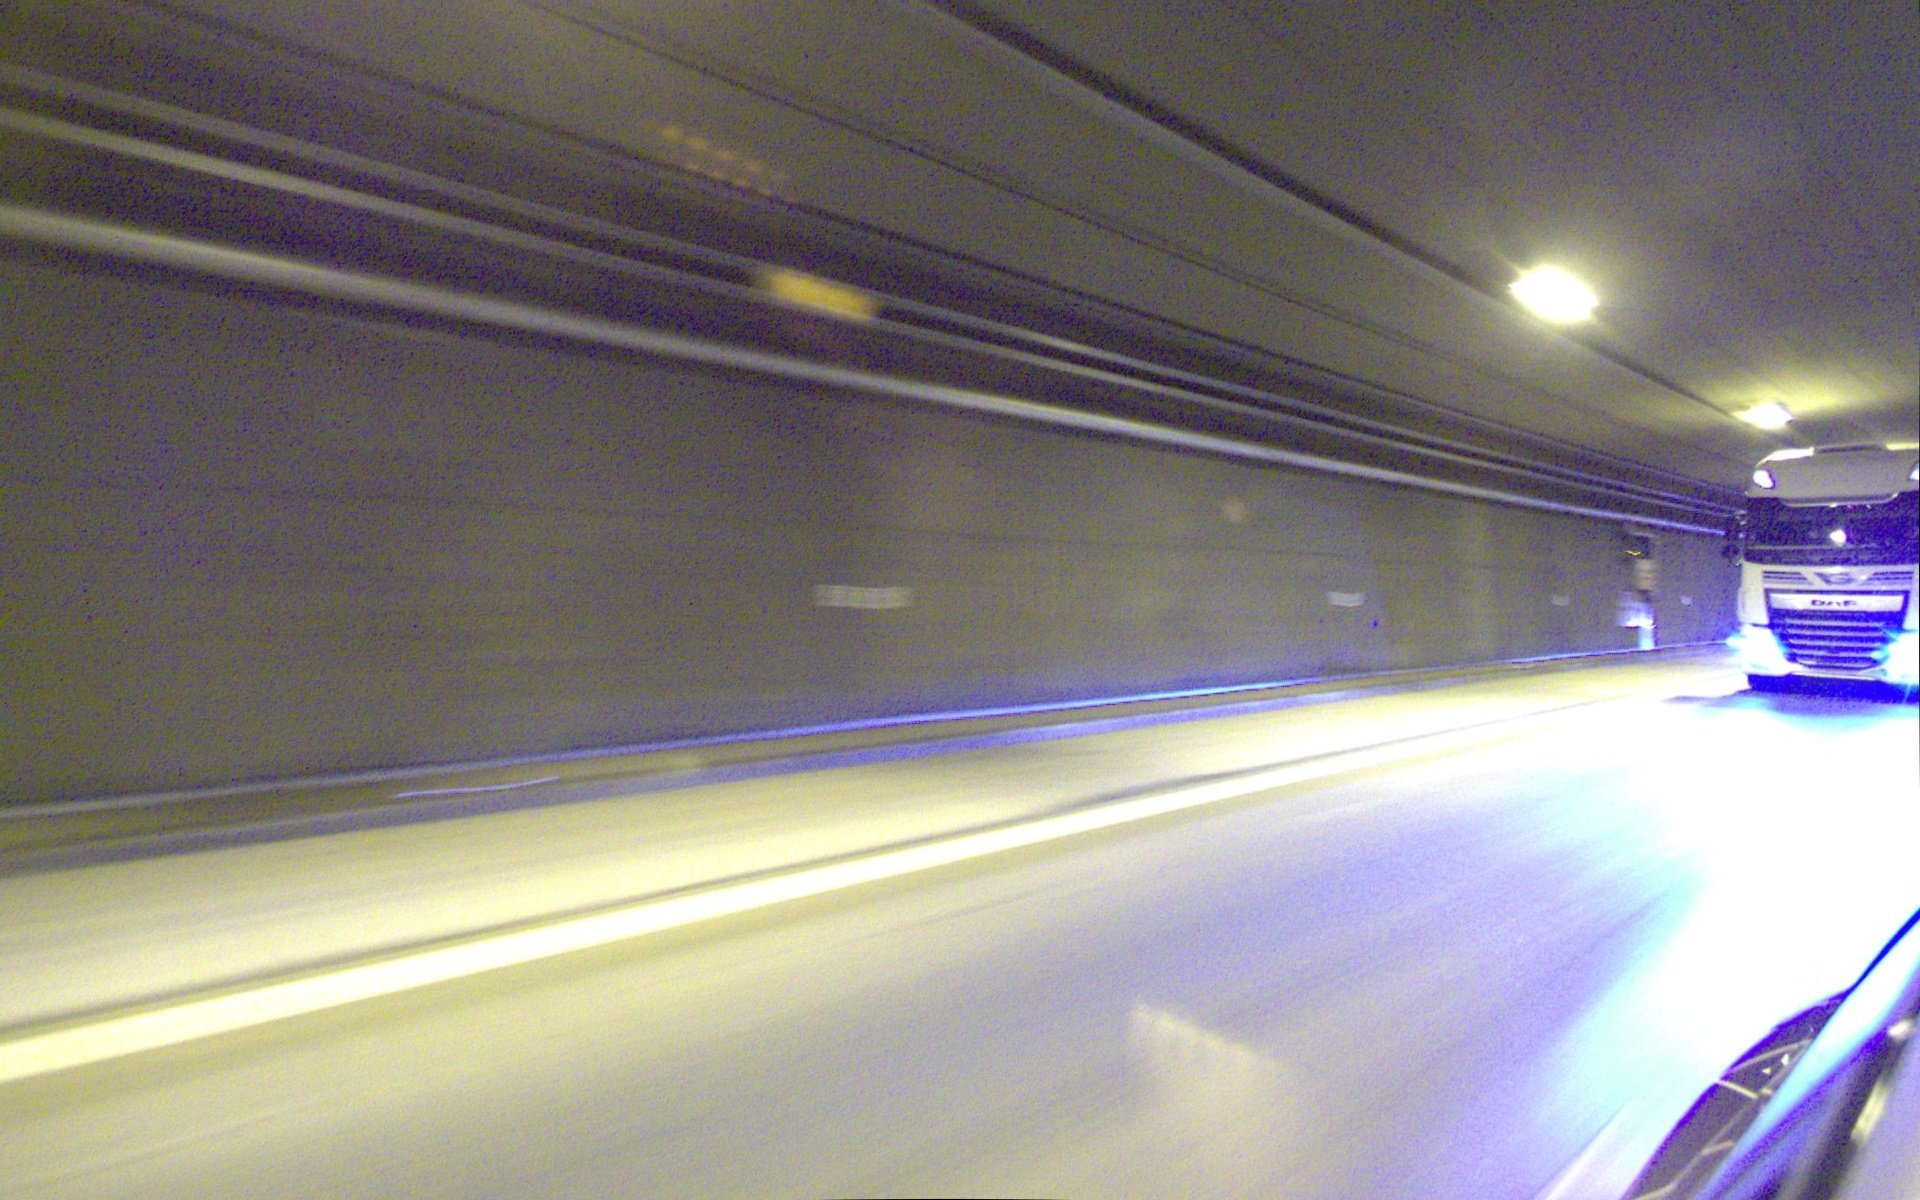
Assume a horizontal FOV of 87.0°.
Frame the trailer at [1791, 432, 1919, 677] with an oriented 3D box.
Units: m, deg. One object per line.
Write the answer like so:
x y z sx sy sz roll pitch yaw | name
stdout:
21.518 -0.799 22.158 13.753 4.216 2.625 0 -1 -40 | trailer

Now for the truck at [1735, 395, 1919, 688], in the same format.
15.568 -0.859 17.130 5.898 4.216 2.651 0 0 -40 | truck
